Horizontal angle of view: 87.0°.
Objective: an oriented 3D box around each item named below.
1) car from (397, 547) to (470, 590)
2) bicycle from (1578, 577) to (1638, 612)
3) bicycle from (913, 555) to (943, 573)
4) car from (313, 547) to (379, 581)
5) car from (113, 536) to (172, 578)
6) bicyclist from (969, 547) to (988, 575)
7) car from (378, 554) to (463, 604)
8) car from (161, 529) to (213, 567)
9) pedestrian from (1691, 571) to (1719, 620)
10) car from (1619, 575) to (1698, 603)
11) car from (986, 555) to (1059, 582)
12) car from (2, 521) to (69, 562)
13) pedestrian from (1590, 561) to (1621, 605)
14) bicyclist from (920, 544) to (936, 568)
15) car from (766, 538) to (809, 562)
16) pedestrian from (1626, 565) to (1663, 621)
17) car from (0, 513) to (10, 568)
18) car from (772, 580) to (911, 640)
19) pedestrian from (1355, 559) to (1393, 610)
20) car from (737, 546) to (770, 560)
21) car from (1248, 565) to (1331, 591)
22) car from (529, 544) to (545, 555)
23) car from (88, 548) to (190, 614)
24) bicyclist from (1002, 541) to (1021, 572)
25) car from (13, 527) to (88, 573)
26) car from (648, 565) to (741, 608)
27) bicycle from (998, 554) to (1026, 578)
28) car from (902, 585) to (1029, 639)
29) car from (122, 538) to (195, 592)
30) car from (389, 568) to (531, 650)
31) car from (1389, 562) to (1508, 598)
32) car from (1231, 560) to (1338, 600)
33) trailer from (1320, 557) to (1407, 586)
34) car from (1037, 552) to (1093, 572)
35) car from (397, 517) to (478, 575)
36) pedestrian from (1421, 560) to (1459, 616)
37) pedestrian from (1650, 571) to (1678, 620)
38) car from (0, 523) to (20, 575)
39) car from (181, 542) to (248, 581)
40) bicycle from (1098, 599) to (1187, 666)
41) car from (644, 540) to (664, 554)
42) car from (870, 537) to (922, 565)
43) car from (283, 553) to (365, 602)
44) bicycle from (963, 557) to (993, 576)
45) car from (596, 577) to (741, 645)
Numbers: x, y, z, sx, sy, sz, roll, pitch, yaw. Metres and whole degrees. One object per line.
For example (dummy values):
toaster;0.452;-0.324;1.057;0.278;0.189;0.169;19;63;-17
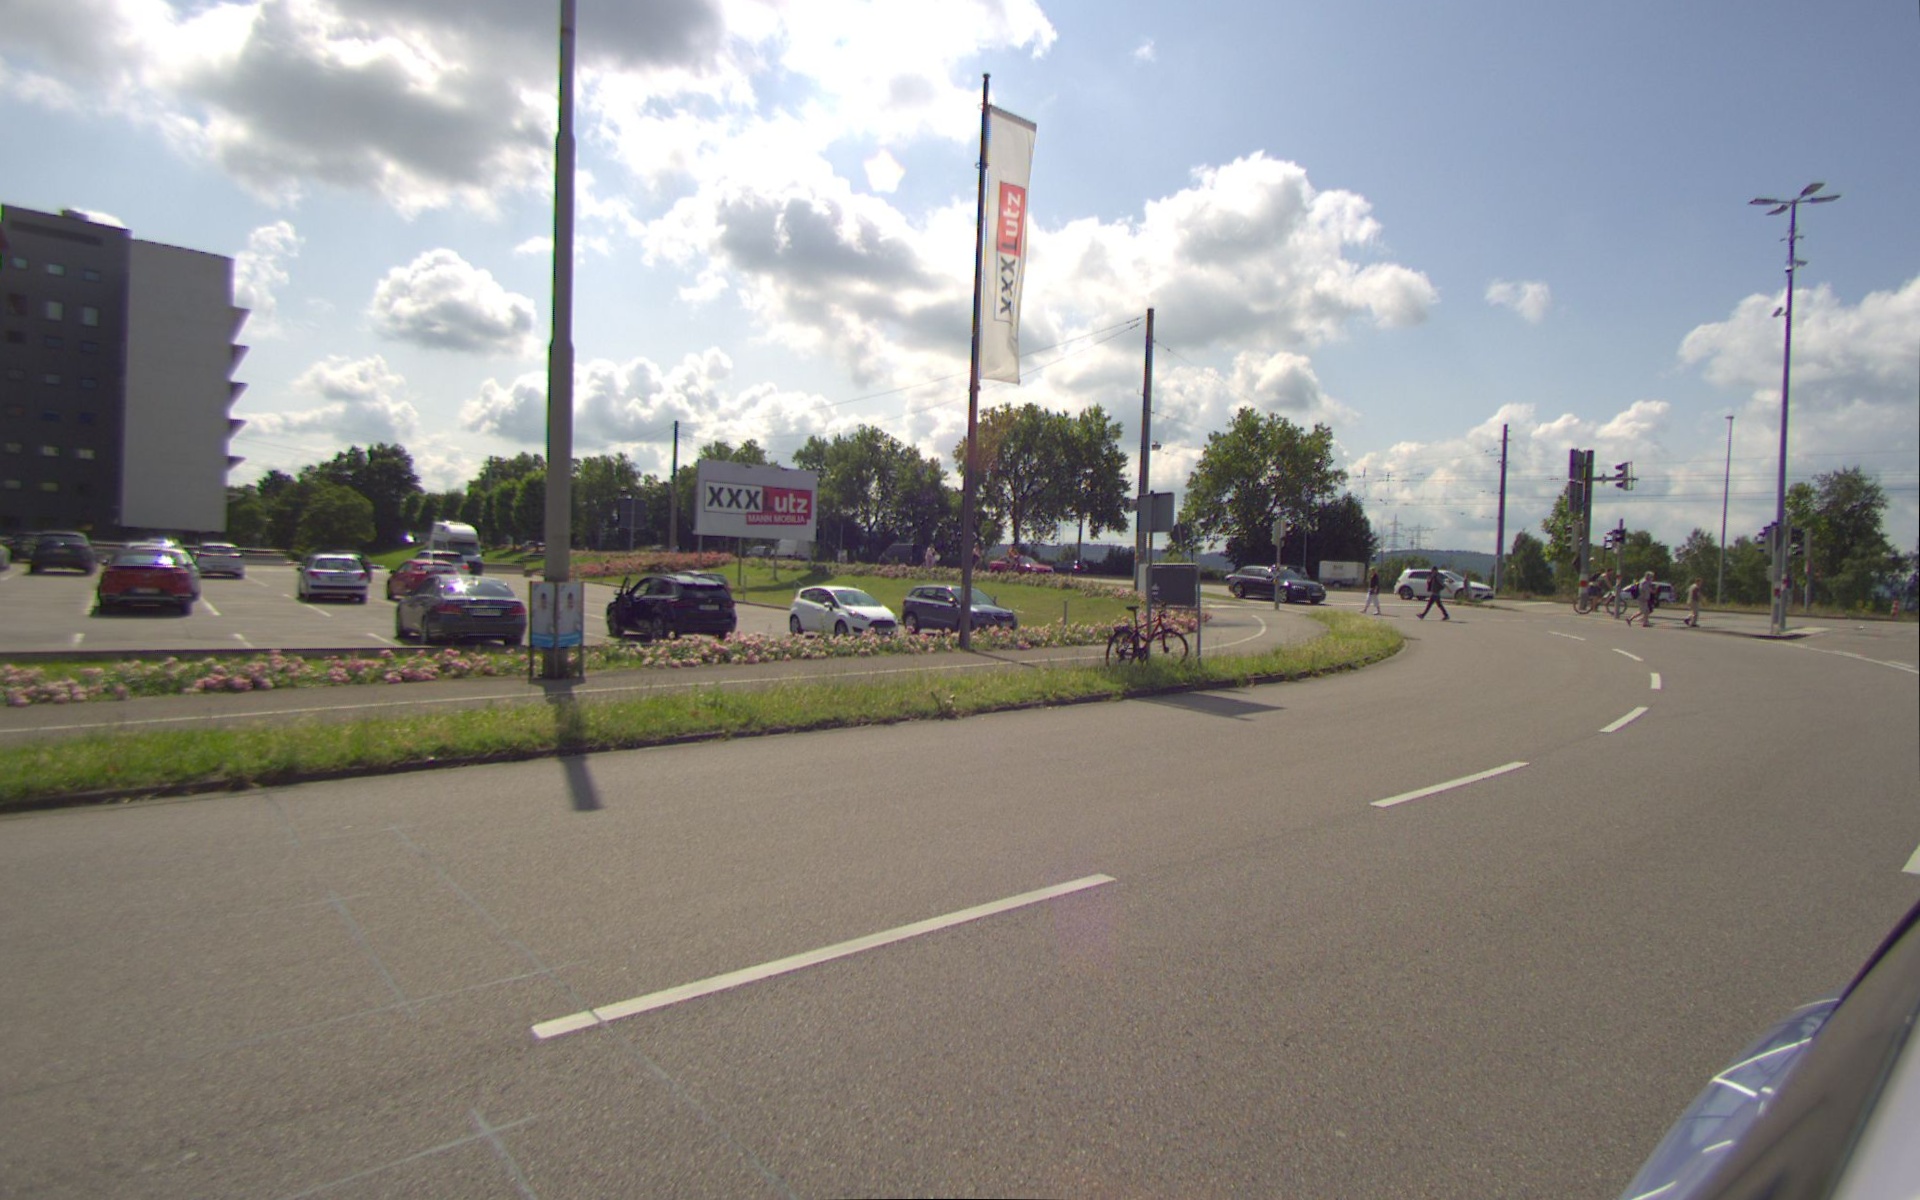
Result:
car;-22.878;-1.394;43.905;1.821;1.607;4.233;2;2;-42
bicycle;24.193;-0.198;37.819;1.676;1.059;0.504;10;3;21
bicycle;-1.828;-2.038;57.693;0.586;0.973;1.986;2;0;-39
car;-28.463;-1.645;46.886;1.887;1.459;3.992;1;1;-42
car;-31.161;-1.627;38.594;1.638;1.470;3.996;2;1;-39
bicyclist;0.966;-2.083;54.040;0.639;1.494;0.742;2;0;-39
car;-18.698;-0.759;34.990;1.813;1.445;4.372;2;2;-38
car;-39.117;-2.589;51.202;1.963;1.760;3.998;2;1;-38
pedestrian;23.756;-0.147;32.273;0.460;1.543;0.557;2;0;-31
car;39.507;-0.630;57.274;3.477;1.474;1.676;-1;1;42
car;3.564;-1.814;58.262;1.718;1.377;4.247;0;4;-39
car;-43.756;-2.736;47.976;1.963;1.760;3.998;2;1;-38
pedestrian;24.149;-0.618;37.849;0.678;1.554;0.503;9;2;21
bicyclist;-1.852;-2.509;57.739;0.582;1.342;0.687;2;0;-40
car;-20.080;-5.840;117.775;5.576;2.522;1.928;6;2;44
pedestrian;21.731;-0.222;32.139;0.686;1.749;0.690;0;2;-29
car;-37.723;-2.283;38.513;1.964;2.039;3.996;2;1;-39
car;-3.369;0.212;28.072;1.764;1.457;4.369;0;2;-39
pedestrian;14.849;-0.548;36.307;0.848;1.787;0.865;1;1;-13
car;-26.226;-5.925;128.434;3.983;1.638;1.971;2;1;41
car;23.390;-1.569;71.973;5.237;1.593;1.968;4;2;44
car;-78.476;-9.357;187.769;1.635;1.883;3.589;2;1;-41
car;-20.570;-0.518;25.454;1.813;1.379;4.372;2;2;-38
bicyclist;2.643;-2.220;51.734;0.609;1.555;0.697;2;0;-36
car;-35.461;-1.930;39.559;1.964;1.607;4.234;2;1;-39
car;-10.781;-0.573;40.854;2.011;1.426;4.372;2;3;-38
bicycle;2.662;-1.746;51.671;0.609;1.180;1.505;2;0;-35
car;0.110;0.313;31.148;1.686;1.435;3.994;0;2;-41
car;-23.747;-1.070;30.040;1.573;1.379;4.036;2;2;-38
car;-10.616;0.106;21.325;1.823;1.495;4.371;0;2;-38
car;22.370;-0.936;46.472;1.980;1.430;4.489;0;3;-43
car;13.682;-0.870;42.897;1.877;1.501;4.211;0;3;-26
trailer;27.229;-1.928;68.413;5.166;1.853;1.797;3;2;43
car;9.456;-3.399;91.285;4.766;1.527;1.936;4;1;43
car;-31.394;-3.227;60.615;3.064;3.193;7.904;0;3;-37
pedestrian;15.915;-0.400;33.547;0.744;1.824;0.824;1;1;-13
pedestrian;22.819;-0.152;32.802;0.460;1.543;0.586;0;1;-31
car;-34.132;-1.792;35.041;1.963;1.760;3.998;0;2;-38
car;-32.091;-1.644;43.530;1.887;1.549;3.993;2;1;-42
bicycle;2.845;0.481;15.731;1.517;0.964;0.518;0;1;-41
car;-45.408;-7.858;150.310;1.772;1.883;3.593;2;1;-36
car;-6.827;-5.208;107.188;5.657;2.637;1.962;4;0;42
car;-20.869;-0.766;33.113;1.813;1.379;4.372;1;3;-38
bicycle;0.946;-1.790;54.029;0.654;0.973;1.694;2;0;-39
car;-7.229;0.202;24.835;1.823;1.434;4.369;0;2;-39
